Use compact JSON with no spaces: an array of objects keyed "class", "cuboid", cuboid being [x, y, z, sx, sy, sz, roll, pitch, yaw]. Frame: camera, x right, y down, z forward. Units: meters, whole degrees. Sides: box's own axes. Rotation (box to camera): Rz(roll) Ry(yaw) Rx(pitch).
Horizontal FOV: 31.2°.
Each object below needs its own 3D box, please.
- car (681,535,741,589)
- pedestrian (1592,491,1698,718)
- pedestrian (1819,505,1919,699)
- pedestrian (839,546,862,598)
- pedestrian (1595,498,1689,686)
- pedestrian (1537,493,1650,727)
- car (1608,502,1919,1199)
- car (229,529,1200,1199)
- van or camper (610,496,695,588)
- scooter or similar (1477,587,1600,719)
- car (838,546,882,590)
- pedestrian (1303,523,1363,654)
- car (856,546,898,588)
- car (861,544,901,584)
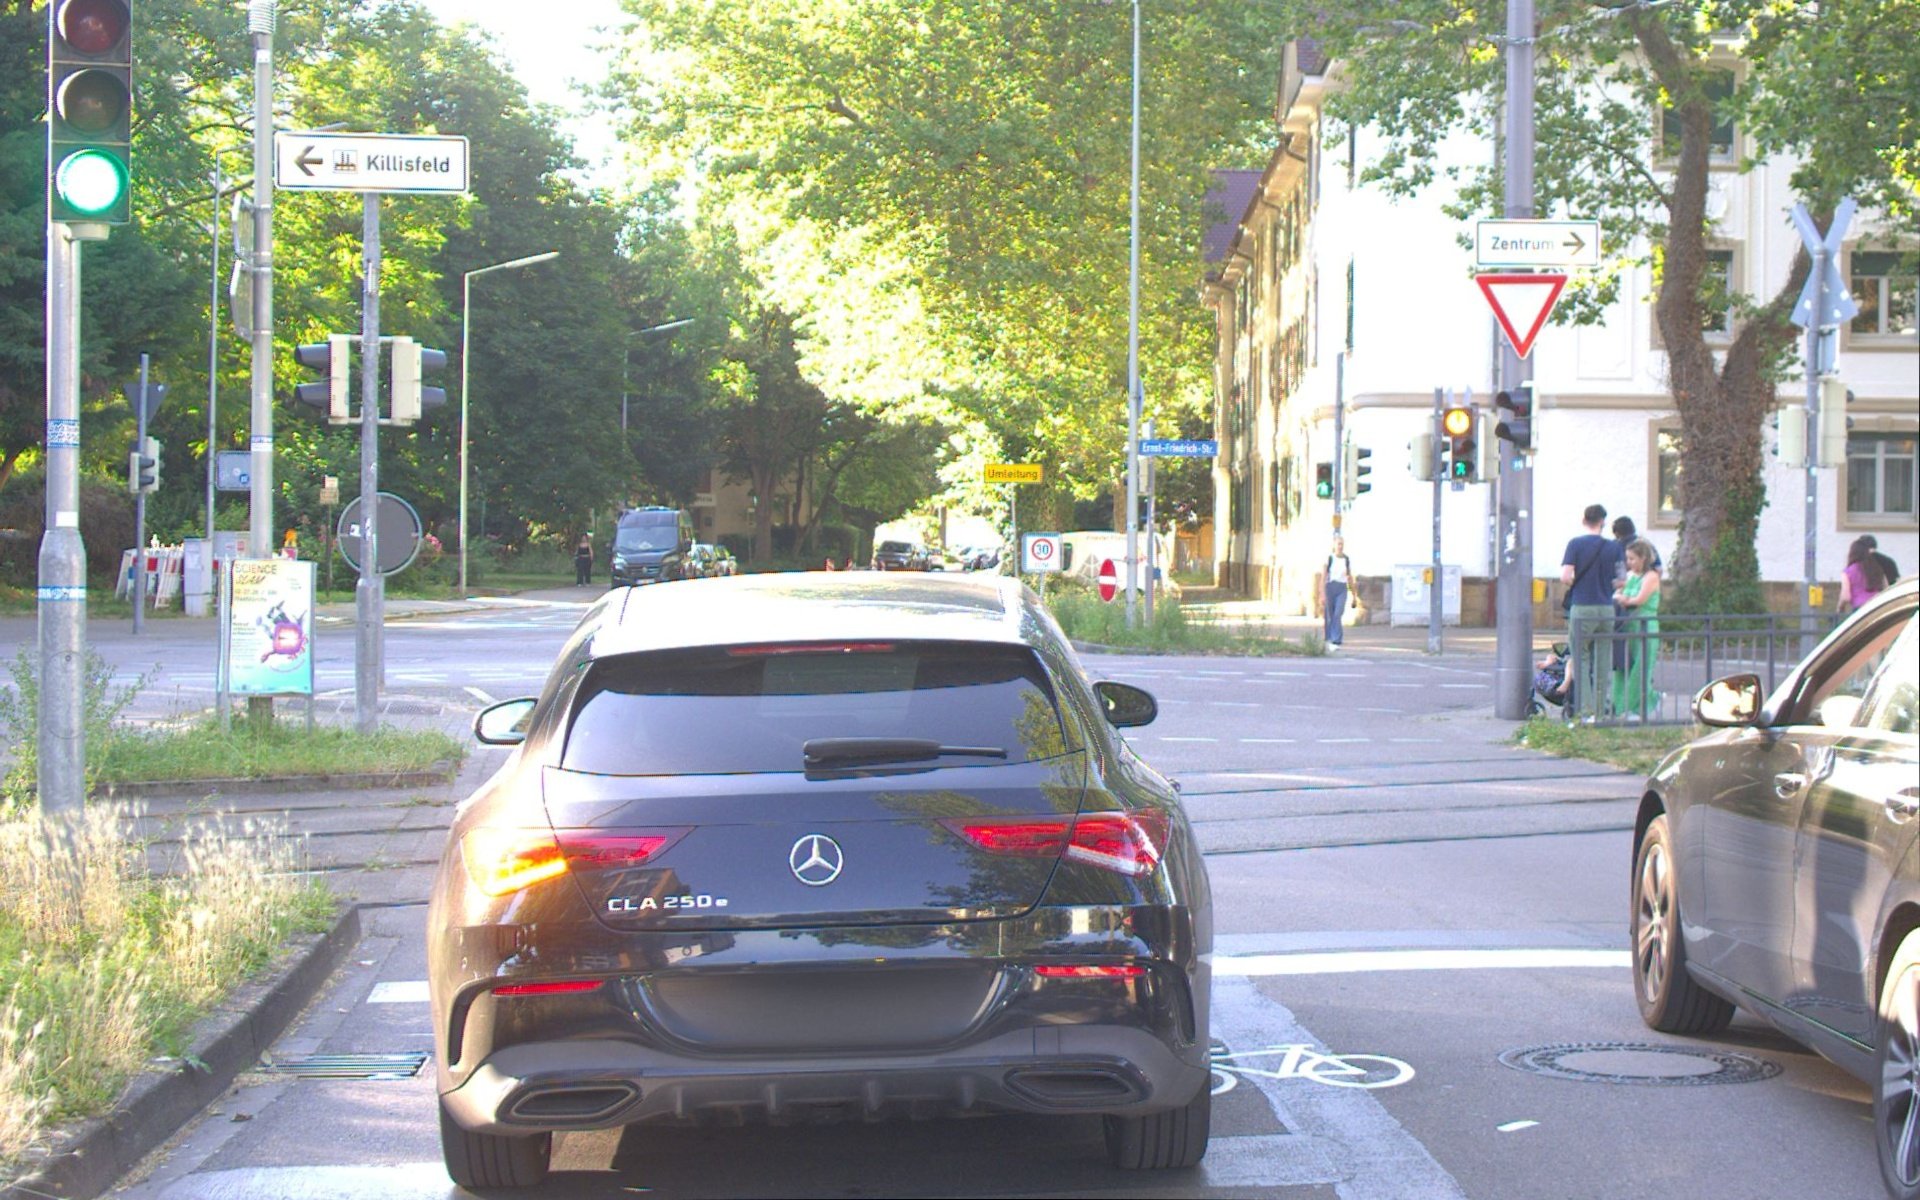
[{"class":"car","cuboid":[-8.377,-1.272,115.828,1.733,1.759,4.085,1,0,-1]},{"class":"pedestrian","cuboid":[5.875,0.035,29.511,0.682,1.911,0.707,1,0,-4]},{"class":"pedestrian","cuboid":[9.115,0.014,34.481,0.705,1.911,0.839,1,0,-4]},{"class":"pedestrian","cuboid":[-4.113,-1.059,128.861,0.705,1.911,0.839,1,0,-10]},{"class":"pedestrian","cuboid":[7.069,-0.086,35.673,0.705,1.911,0.839,1,0,-5]},{"class":"pedestrian","cuboid":[5.274,0.081,28.641,0.705,1.911,0.685,1,0,-8]},{"class":"car","cuboid":[2.923,0.575,8.301,1.889,1.485,4.382,1,3,1]},{"class":"car","cuboid":[-0.460,0.621,8.767,1.889,1.445,4.001,1,3,1]},{"class":"van or camper","cuboid":[-8.785,-1.640,98.582,1.993,2.533,4.651,1,0,0]},{"class":"scooter or similar","cuboid":[4.964,0.448,29.536,0.828,1.101,0.809,1,0,-6]},{"class":"car","cuboid":[-4.200,-1.347,144.266,1.733,1.759,4.019,1,0,-1]},{"class":"pedestrian","cuboid":[5.529,-0.169,51.006,0.705,1.911,0.839,1,0,-4]},{"class":"car","cuboid":[-3.589,-1.434,149.218,1.733,1.759,4.019,1,0,-1]},{"class":"car","cuboid":[-3.597,-1.639,157.300,1.733,1.759,4.019,1,0,-1]}]
